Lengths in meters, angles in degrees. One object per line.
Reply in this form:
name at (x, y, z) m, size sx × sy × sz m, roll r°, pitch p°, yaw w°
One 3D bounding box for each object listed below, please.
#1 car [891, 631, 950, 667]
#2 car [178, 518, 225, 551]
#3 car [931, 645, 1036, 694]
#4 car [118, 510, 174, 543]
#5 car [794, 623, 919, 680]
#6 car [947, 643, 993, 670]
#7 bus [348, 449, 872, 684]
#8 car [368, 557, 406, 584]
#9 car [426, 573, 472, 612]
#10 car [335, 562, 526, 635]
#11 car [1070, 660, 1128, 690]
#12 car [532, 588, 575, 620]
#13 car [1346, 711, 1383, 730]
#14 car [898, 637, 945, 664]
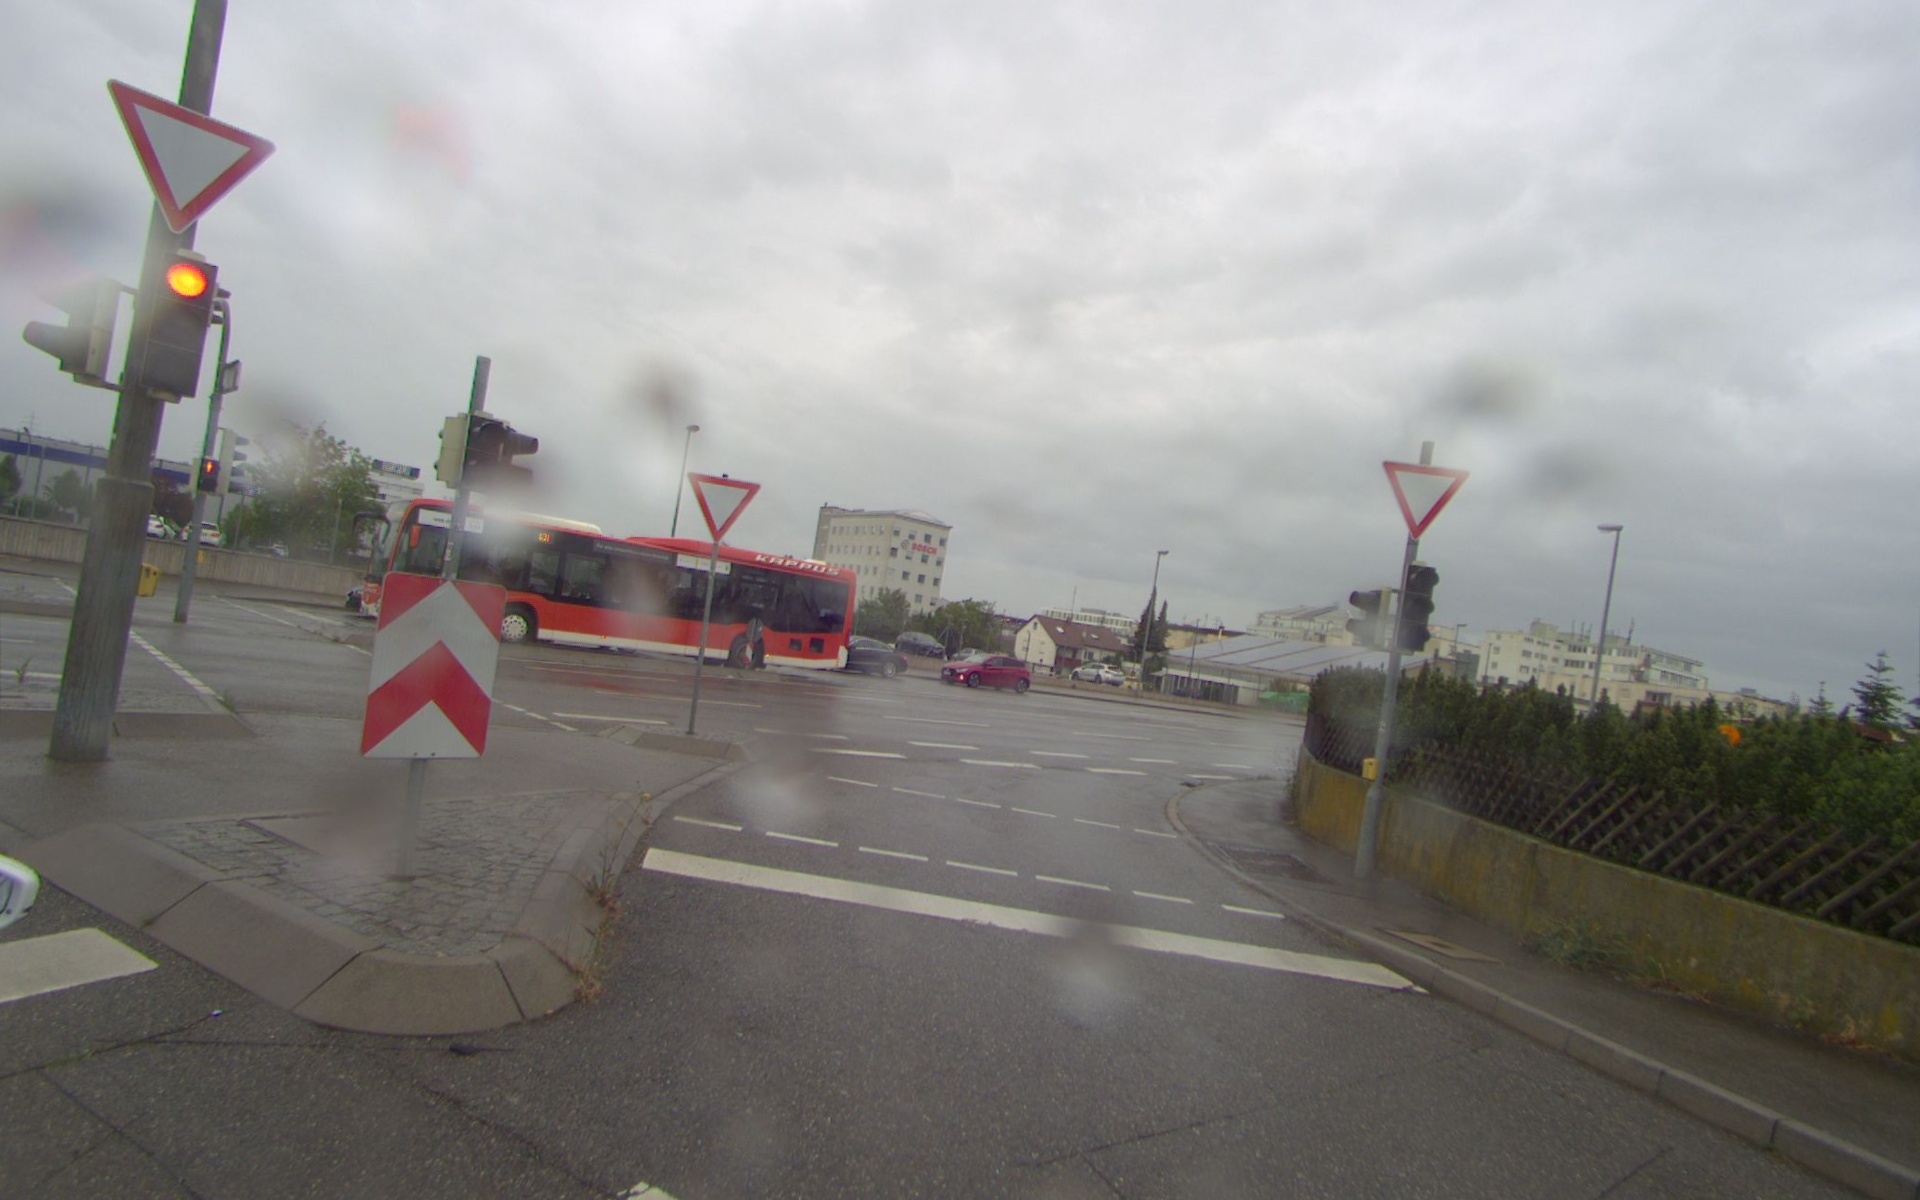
car at (-2.474, 2.989, 61.710) m, size 1.912 × 1.684 × 3.869 m, roll 9°, pitch -2°, yaw -29°
car at (-43.823, -3.759, 58.221) m, size 1.847 × 1.543 × 4.066 m, roll 8°, pitch -2°, yaw -35°
car at (1.003, 2.903, 42.037) m, size 3.948 × 1.525 × 1.853 m, roll 9°, pitch -2°, yaw -36°
car at (-45.610, -4.113, 56.453) m, size 1.805 × 1.450 × 4.071 m, roll 8°, pitch -2°, yaw -32°
car at (-3.888, 1.976, 38.195) m, size 4.367 × 1.555 × 1.804 m, roll 10°, pitch -3°, yaw -42°
car at (0.804, 4.683, 83.700) m, size 1.980 × 1.636 × 3.970 m, roll 9°, pitch -2°, yaw -30°
bus at (-8.233, -0.434, 25.894) m, size 12.223 × 3.614 × 2.952 m, roll 12°, pitch -4°, yaw -41°
car at (-41.537, -2.171, 72.894) m, size 1.912 × 1.607 × 3.754 m, roll 9°, pitch -2°, yaw -34°
car at (-31.159, -0.479, 61.298) m, size 1.734 × 2.037 × 3.786 m, roll 8°, pitch -2°, yaw -37°
car at (-14.808, -0.021, 28.285) m, size 4.367 × 1.370 × 1.804 m, roll 10°, pitch -3°, yaw -42°
car at (9.656, 5.217, 70.127) m, size 1.976 × 1.561 × 3.977 m, roll 9°, pitch -2°, yaw -25°
car at (-31.981, 0.286, 79.094) m, size 1.983 × 2.037 × 3.962 m, roll 8°, pitch -2°, yaw -36°
car at (41.240, 12.306, 102.532) m, size 3.616 × 1.436 × 1.720 m, roll 10°, pitch -2°, yaw -36°
car at (-3.163, 4.067, 81.413) m, size 1.980 × 1.636 × 3.970 m, roll 9°, pitch -2°, yaw -30°
